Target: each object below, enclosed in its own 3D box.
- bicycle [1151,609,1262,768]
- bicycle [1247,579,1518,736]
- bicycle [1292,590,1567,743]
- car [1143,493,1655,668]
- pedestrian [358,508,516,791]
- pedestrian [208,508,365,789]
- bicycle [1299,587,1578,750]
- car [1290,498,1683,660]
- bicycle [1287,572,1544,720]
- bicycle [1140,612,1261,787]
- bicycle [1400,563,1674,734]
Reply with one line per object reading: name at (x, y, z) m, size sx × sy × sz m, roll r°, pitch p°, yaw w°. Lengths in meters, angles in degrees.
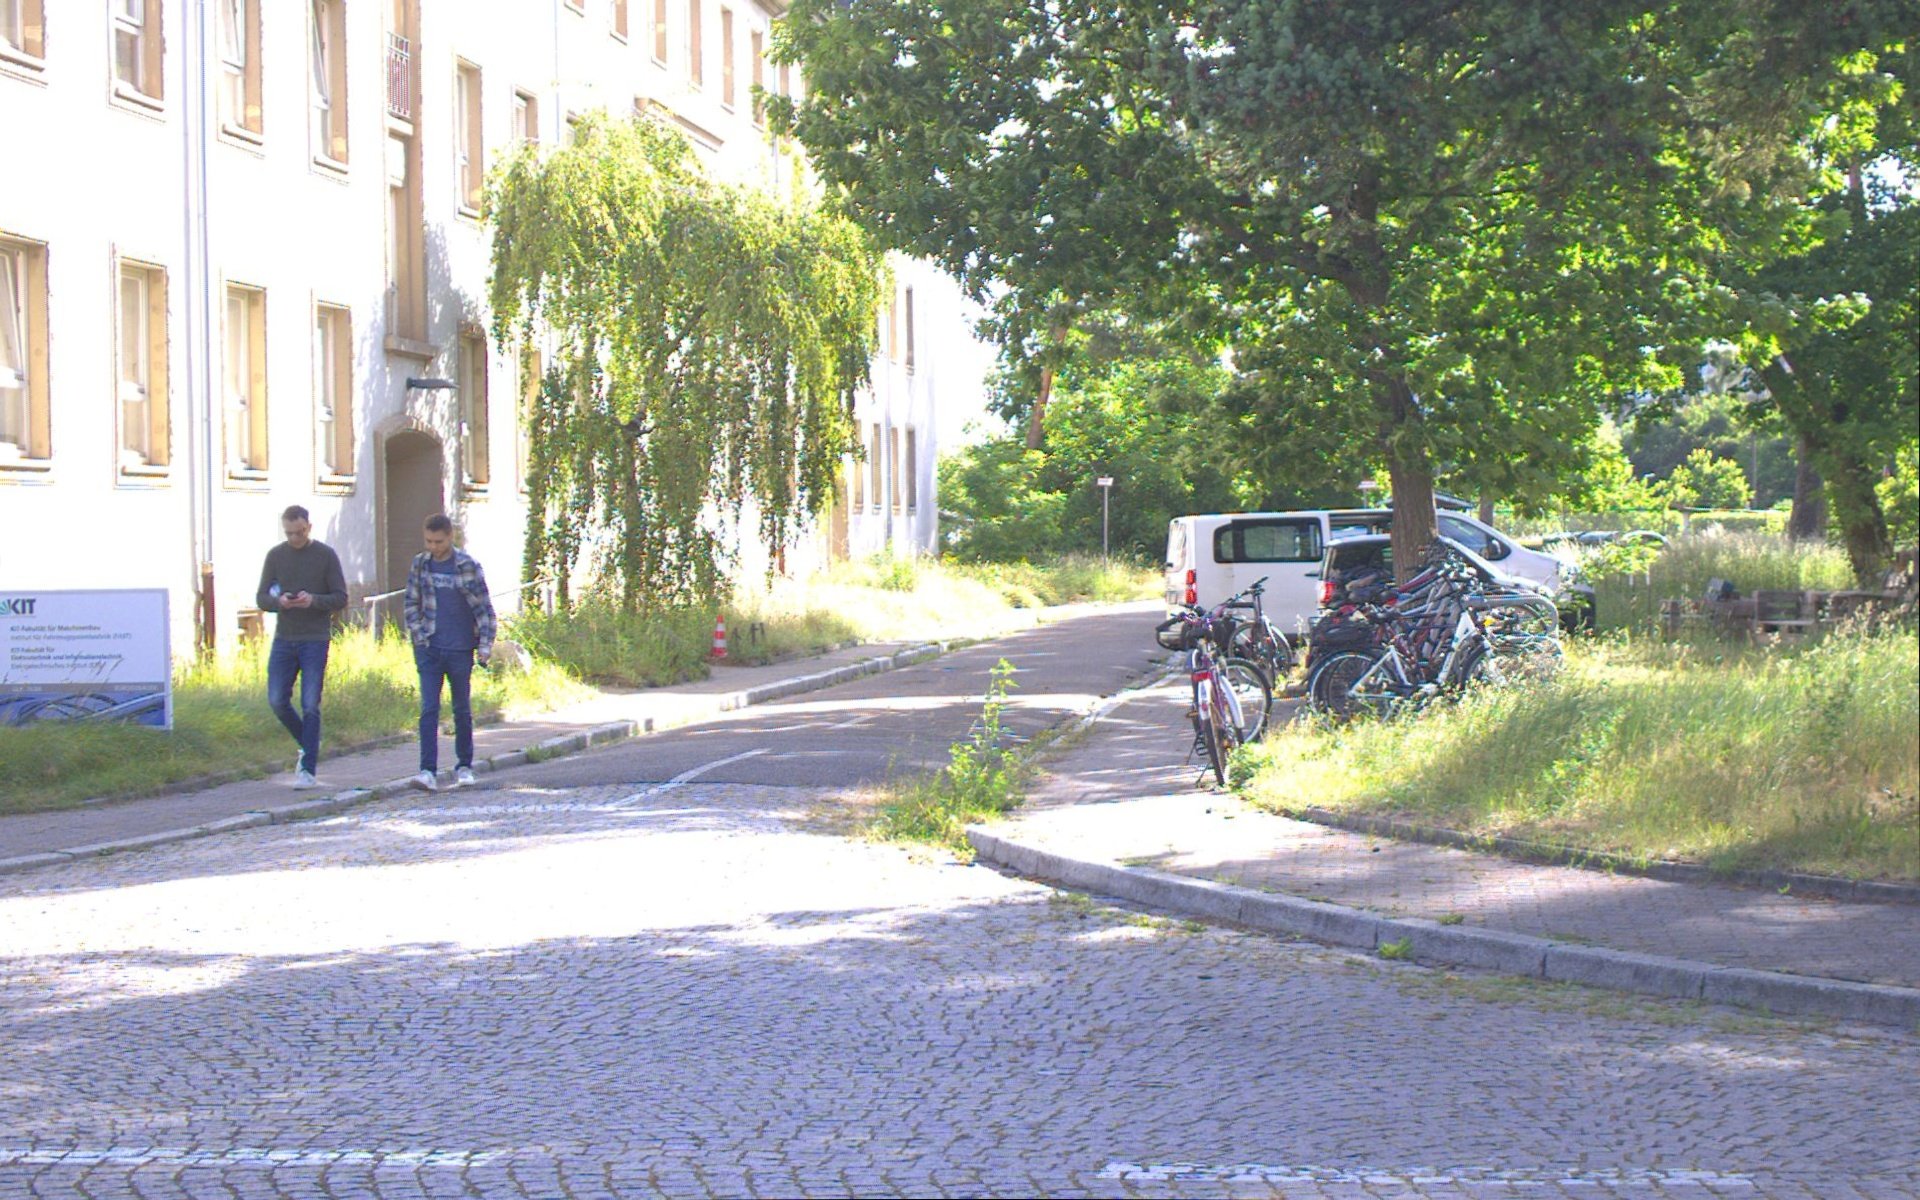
bicycle at (1.639, 0.563, 22.673) m, size 0.695 × 0.968 × 1.860 m, roll 0°, pitch 1°, yaw 5°
bicycle at (3.199, 0.421, 26.036) m, size 1.940 × 1.125 × 0.648 m, roll -1°, pitch 1°, yaw -19°
bicycle at (3.261, 0.458, 24.006) m, size 1.855 × 1.027 × 0.750 m, roll -1°, pitch 1°, yaw 4°
car at (5.264, -0.253, 41.968) m, size 5.930 × 2.007 × 2.475 m, roll -1°, pitch 1°, yaw 1°
pedestrian at (-3.399, 0.310, 22.394) m, size 0.768 × 1.811 × 0.682 m, roll 0°, pitch 1°, yaw 18°
pedestrian at (-4.407, 0.311, 22.523) m, size 0.812 × 1.811 × 0.554 m, roll 0°, pitch 1°, yaw 18°
bicycle at (3.434, 0.486, 24.792) m, size 1.941 × 1.125 × 0.750 m, roll -1°, pitch 1°, yaw 4°
car at (5.696, -0.240, 37.541) m, size 3.987 × 1.678 × 1.847 m, roll -1°, pitch 1°, yaw 0°
bicycle at (3.580, 0.354, 27.100) m, size 1.941 × 1.125 × 0.648 m, roll -1°, pitch 1°, yaw 2°
bicycle at (1.464, 0.577, 20.734) m, size 0.695 × 0.968 × 1.860 m, roll 0°, pitch 1°, yaw 5°
bicycle at (4.247, 0.354, 25.381) m, size 1.941 × 1.231 × 0.485 m, roll -1°, pitch 1°, yaw 4°
